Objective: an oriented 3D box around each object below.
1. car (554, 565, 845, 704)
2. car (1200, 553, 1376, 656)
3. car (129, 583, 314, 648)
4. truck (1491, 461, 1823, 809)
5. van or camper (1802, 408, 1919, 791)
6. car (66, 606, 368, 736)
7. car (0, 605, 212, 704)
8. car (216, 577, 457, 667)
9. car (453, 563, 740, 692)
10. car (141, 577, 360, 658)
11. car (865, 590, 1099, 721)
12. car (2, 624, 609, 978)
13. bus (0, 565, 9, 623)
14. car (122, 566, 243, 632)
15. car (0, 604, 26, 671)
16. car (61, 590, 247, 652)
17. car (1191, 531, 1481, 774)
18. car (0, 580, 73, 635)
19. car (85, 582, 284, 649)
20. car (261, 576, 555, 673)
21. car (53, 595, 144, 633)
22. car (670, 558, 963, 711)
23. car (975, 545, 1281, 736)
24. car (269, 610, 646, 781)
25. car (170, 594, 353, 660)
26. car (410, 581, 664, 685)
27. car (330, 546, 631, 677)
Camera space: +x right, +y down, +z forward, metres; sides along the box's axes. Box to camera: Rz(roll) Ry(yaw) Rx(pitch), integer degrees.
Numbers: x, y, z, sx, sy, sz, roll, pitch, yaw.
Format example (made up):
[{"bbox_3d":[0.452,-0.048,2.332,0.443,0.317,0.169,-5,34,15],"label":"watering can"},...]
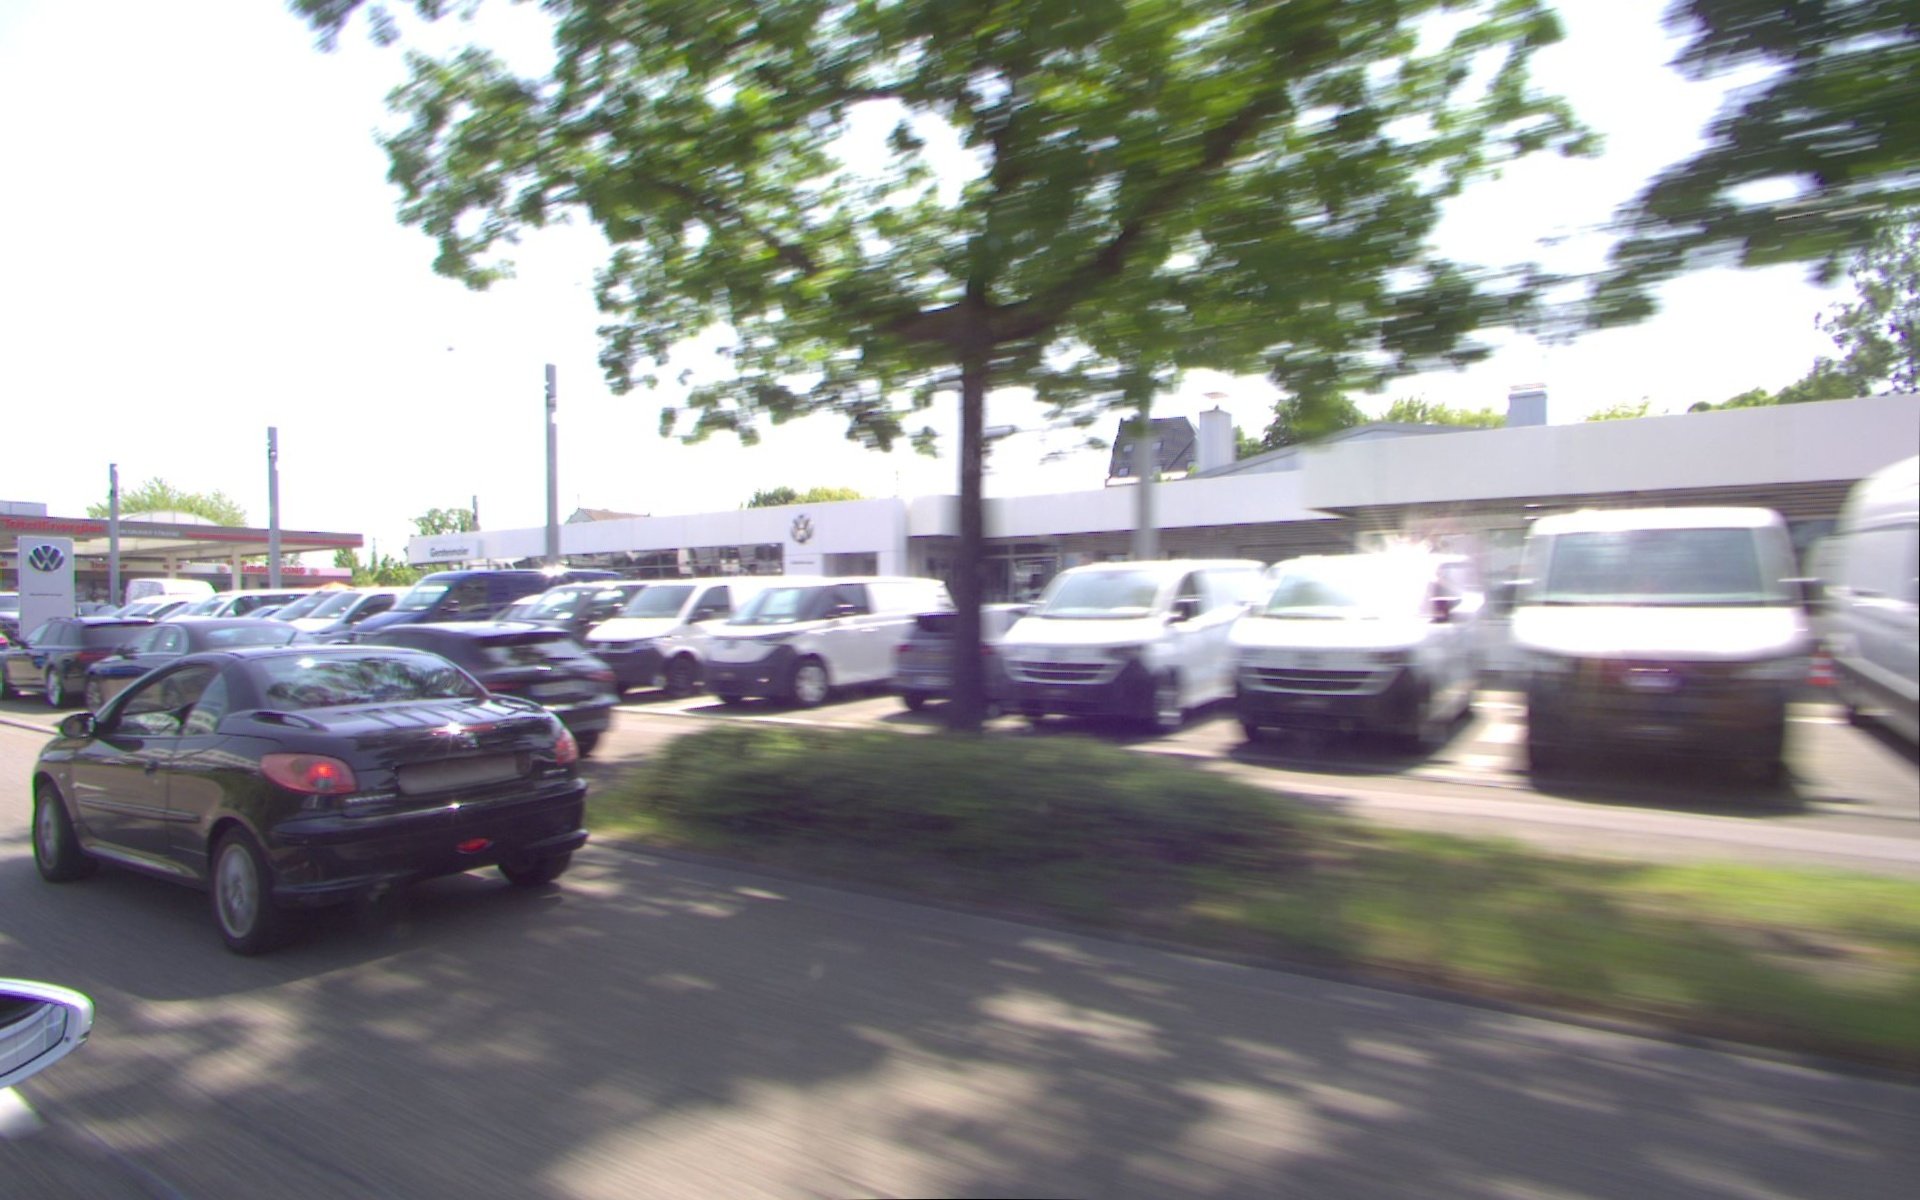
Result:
[{"bbox_3d":[-4.507,0.473,18.223,2.012,2.125,5.050,0,2,33],"label":"car"},{"bbox_3d":[7.173,0.030,21.616,2.074,1.898,4.486,-1,2,40],"label":"car"},{"bbox_3d":[-22.458,0.437,30.612,1.855,1.804,4.139,-1,1,33],"label":"car"},{"bbox_3d":[6.768,0.202,9.853,2.083,2.469,5.229,0,1,35],"label":"truck"},{"bbox_3d":[9.505,-0.033,8.910,2.243,2.937,6.779,0,1,33],"label":"van or camper"},{"bbox_3d":[-10.910,0.882,14.576,5.090,1.551,1.955,0,1,34],"label":"car"},{"bbox_3d":[-15.730,0.880,18.007,5.081,1.501,1.850,0,2,31],"label":"car"},{"bbox_3d":[-15.565,0.526,25.259,1.976,2.011,4.774,2,0,35],"label":"car"},{"bbox_3d":[-6.749,0.392,19.209,2.099,2.143,4.886,1,2,33],"label":"car"},{"bbox_3d":[-19.845,0.402,28.245,1.932,2.041,4.628,1,2,32],"label":"car"},{"bbox_3d":[0.487,0.680,14.847,1.884,1.491,4.017,1,3,27],"label":"car"},{"bbox_3d":[-3.875,0.872,5.798,3.608,1.443,1.597,0,-1,32],"label":"car"},{"bbox_3d":[-57.064,-0.417,56.844,12.128,3.120,2.794,1,1,38],"label":"bus"},{"bbox_3d":[-34.335,-0.057,44.141,6.921,2.712,2.249,0,1,35],"label":"car"},{"bbox_3d":[-24.840,0.913,24.529,4.722,1.569,1.709,-1,1,32],"label":"car"},{"bbox_3d":[-26.348,0.617,32.896,1.882,1.908,4.401,0,1,33],"label":"car"},{"bbox_3d":[4.518,0.457,11.465,2.129,2.141,4.937,0,0,33],"label":"car"},{"bbox_3d":[-37.139,0.322,39.492,5.089,2.049,1.989,0,-1,34],"label":"car"},{"bbox_3d":[-23.893,0.534,31.037,1.831,1.912,4.547,-2,-2,33],"label":"car"},{"bbox_3d":[-12.983,0.591,24.081,2.226,2.039,5.884,0,-1,32],"label":"car"},{"bbox_3d":[-35.964,0.569,41.774,4.537,1.533,1.739,0,-1,34],"label":"car"},{"bbox_3d":[-2.152,0.430,16.301,2.169,2.041,4.493,-1,2,35],"label":"car"},{"bbox_3d":[2.420,0.388,13.123,2.112,1.997,4.898,0,1,34],"label":"car"},{"bbox_3d":[-5.459,0.864,10.681,4.378,1.455,1.677,-1,1,34],"label":"car"},{"bbox_3d":[-18.110,0.694,26.086,1.696,1.591,3.615,0,-1,40],"label":"car"},{"bbox_3d":[-8.595,0.563,20.768,1.924,1.876,4.555,1,2,33],"label":"car"},{"bbox_3d":[-10.568,0.324,22.589,2.176,2.556,5.825,-2,-2,36],"label":"car"}]
